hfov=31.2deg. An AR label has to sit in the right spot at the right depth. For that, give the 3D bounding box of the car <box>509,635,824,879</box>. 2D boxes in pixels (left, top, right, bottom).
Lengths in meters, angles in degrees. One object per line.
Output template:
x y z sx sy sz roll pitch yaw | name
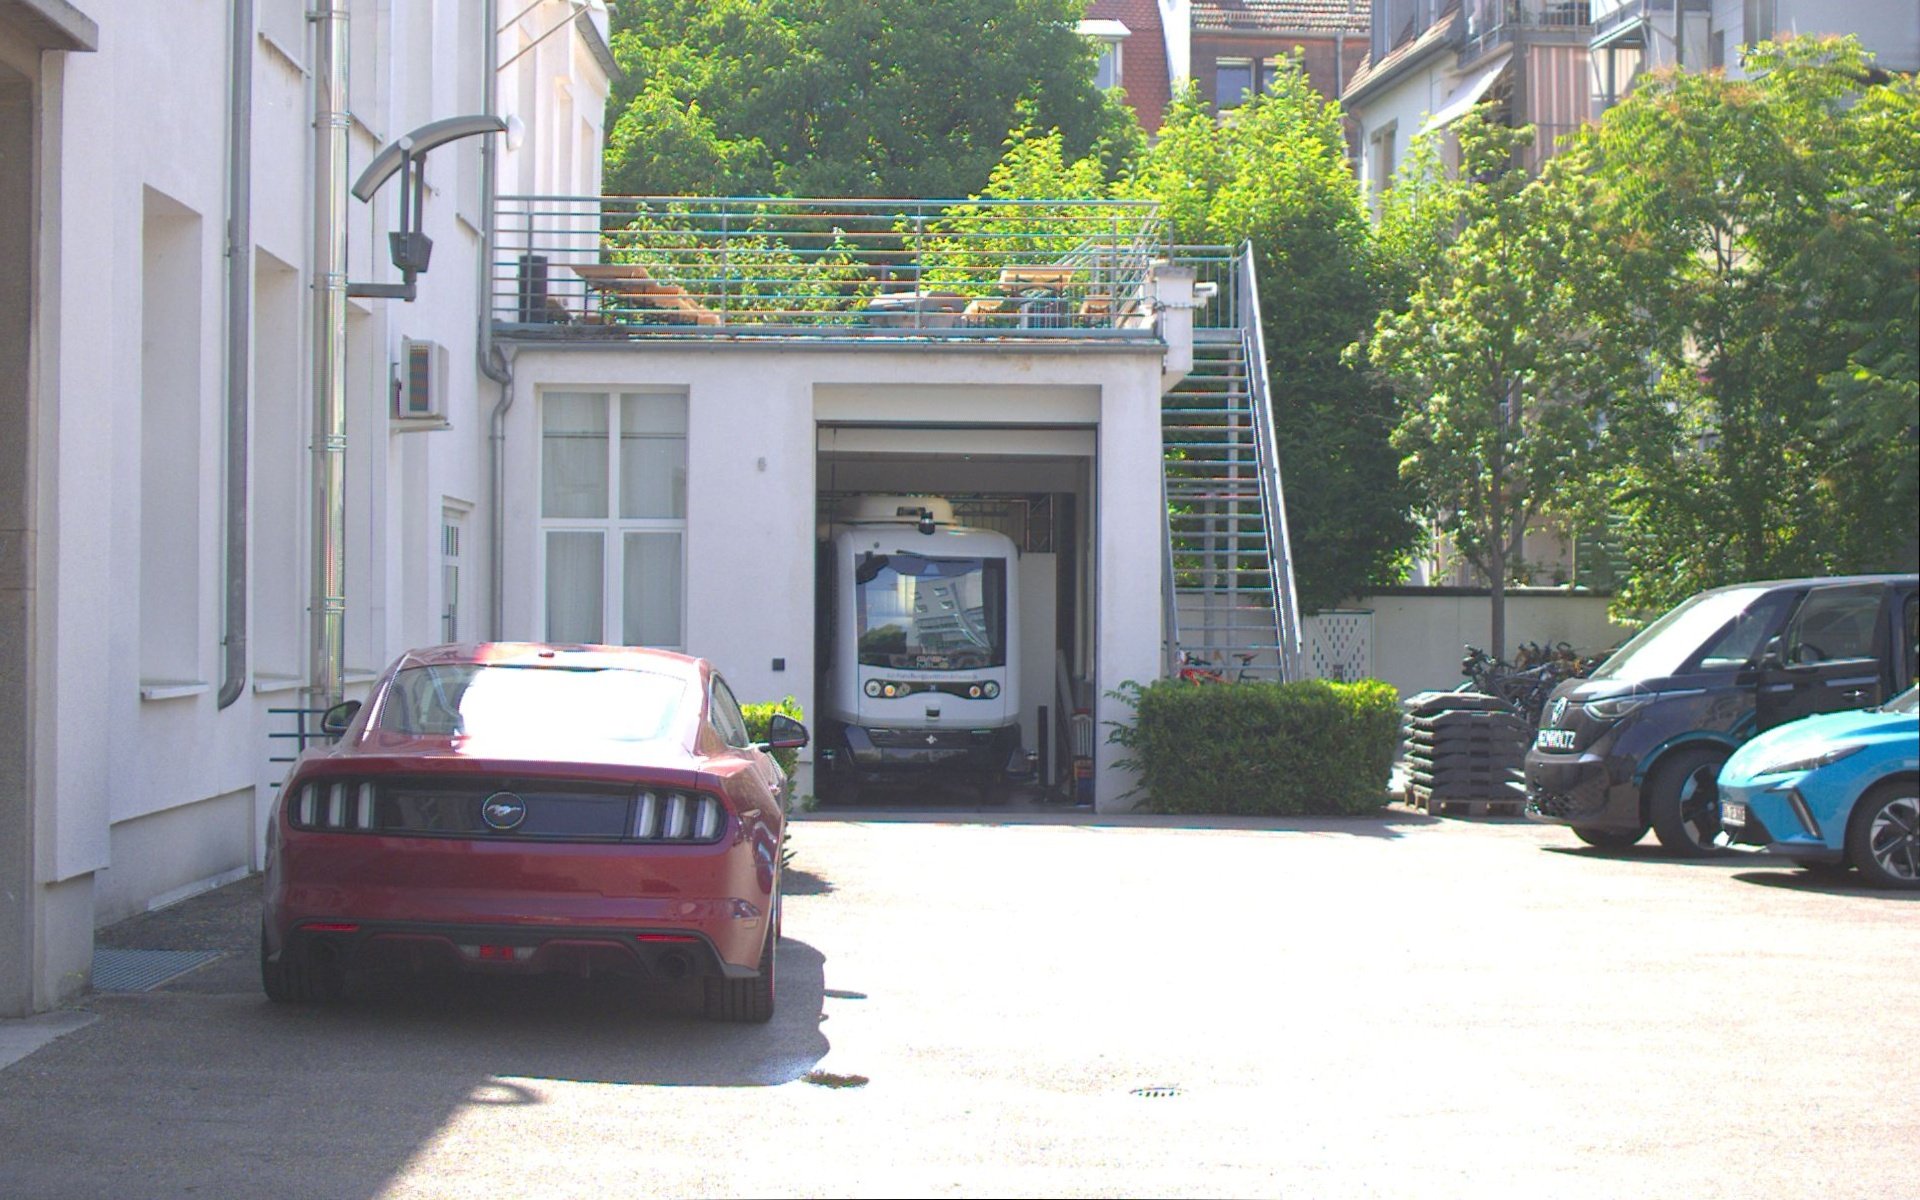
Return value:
-1.688 0.880 20.761 1.614 1.291 3.759 0 0 -1 | car

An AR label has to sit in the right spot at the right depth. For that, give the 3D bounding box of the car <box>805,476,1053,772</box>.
-0.308 0.241 33.745 2.174 2.598 6.734 -1 -1 -1 | car

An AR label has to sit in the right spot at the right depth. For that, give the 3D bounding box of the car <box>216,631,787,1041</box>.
-1.686 0.838 13.906 1.852 1.315 4.000 2 0 -2 | car

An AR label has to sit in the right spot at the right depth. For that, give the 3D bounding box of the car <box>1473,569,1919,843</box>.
6.339 0.678 24.228 4.950 1.761 2.097 -1 1 -13 | car

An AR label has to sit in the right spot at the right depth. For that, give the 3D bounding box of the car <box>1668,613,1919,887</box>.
6.679 0.855 20.979 4.228 1.527 2.000 -1 1 -4 | car
